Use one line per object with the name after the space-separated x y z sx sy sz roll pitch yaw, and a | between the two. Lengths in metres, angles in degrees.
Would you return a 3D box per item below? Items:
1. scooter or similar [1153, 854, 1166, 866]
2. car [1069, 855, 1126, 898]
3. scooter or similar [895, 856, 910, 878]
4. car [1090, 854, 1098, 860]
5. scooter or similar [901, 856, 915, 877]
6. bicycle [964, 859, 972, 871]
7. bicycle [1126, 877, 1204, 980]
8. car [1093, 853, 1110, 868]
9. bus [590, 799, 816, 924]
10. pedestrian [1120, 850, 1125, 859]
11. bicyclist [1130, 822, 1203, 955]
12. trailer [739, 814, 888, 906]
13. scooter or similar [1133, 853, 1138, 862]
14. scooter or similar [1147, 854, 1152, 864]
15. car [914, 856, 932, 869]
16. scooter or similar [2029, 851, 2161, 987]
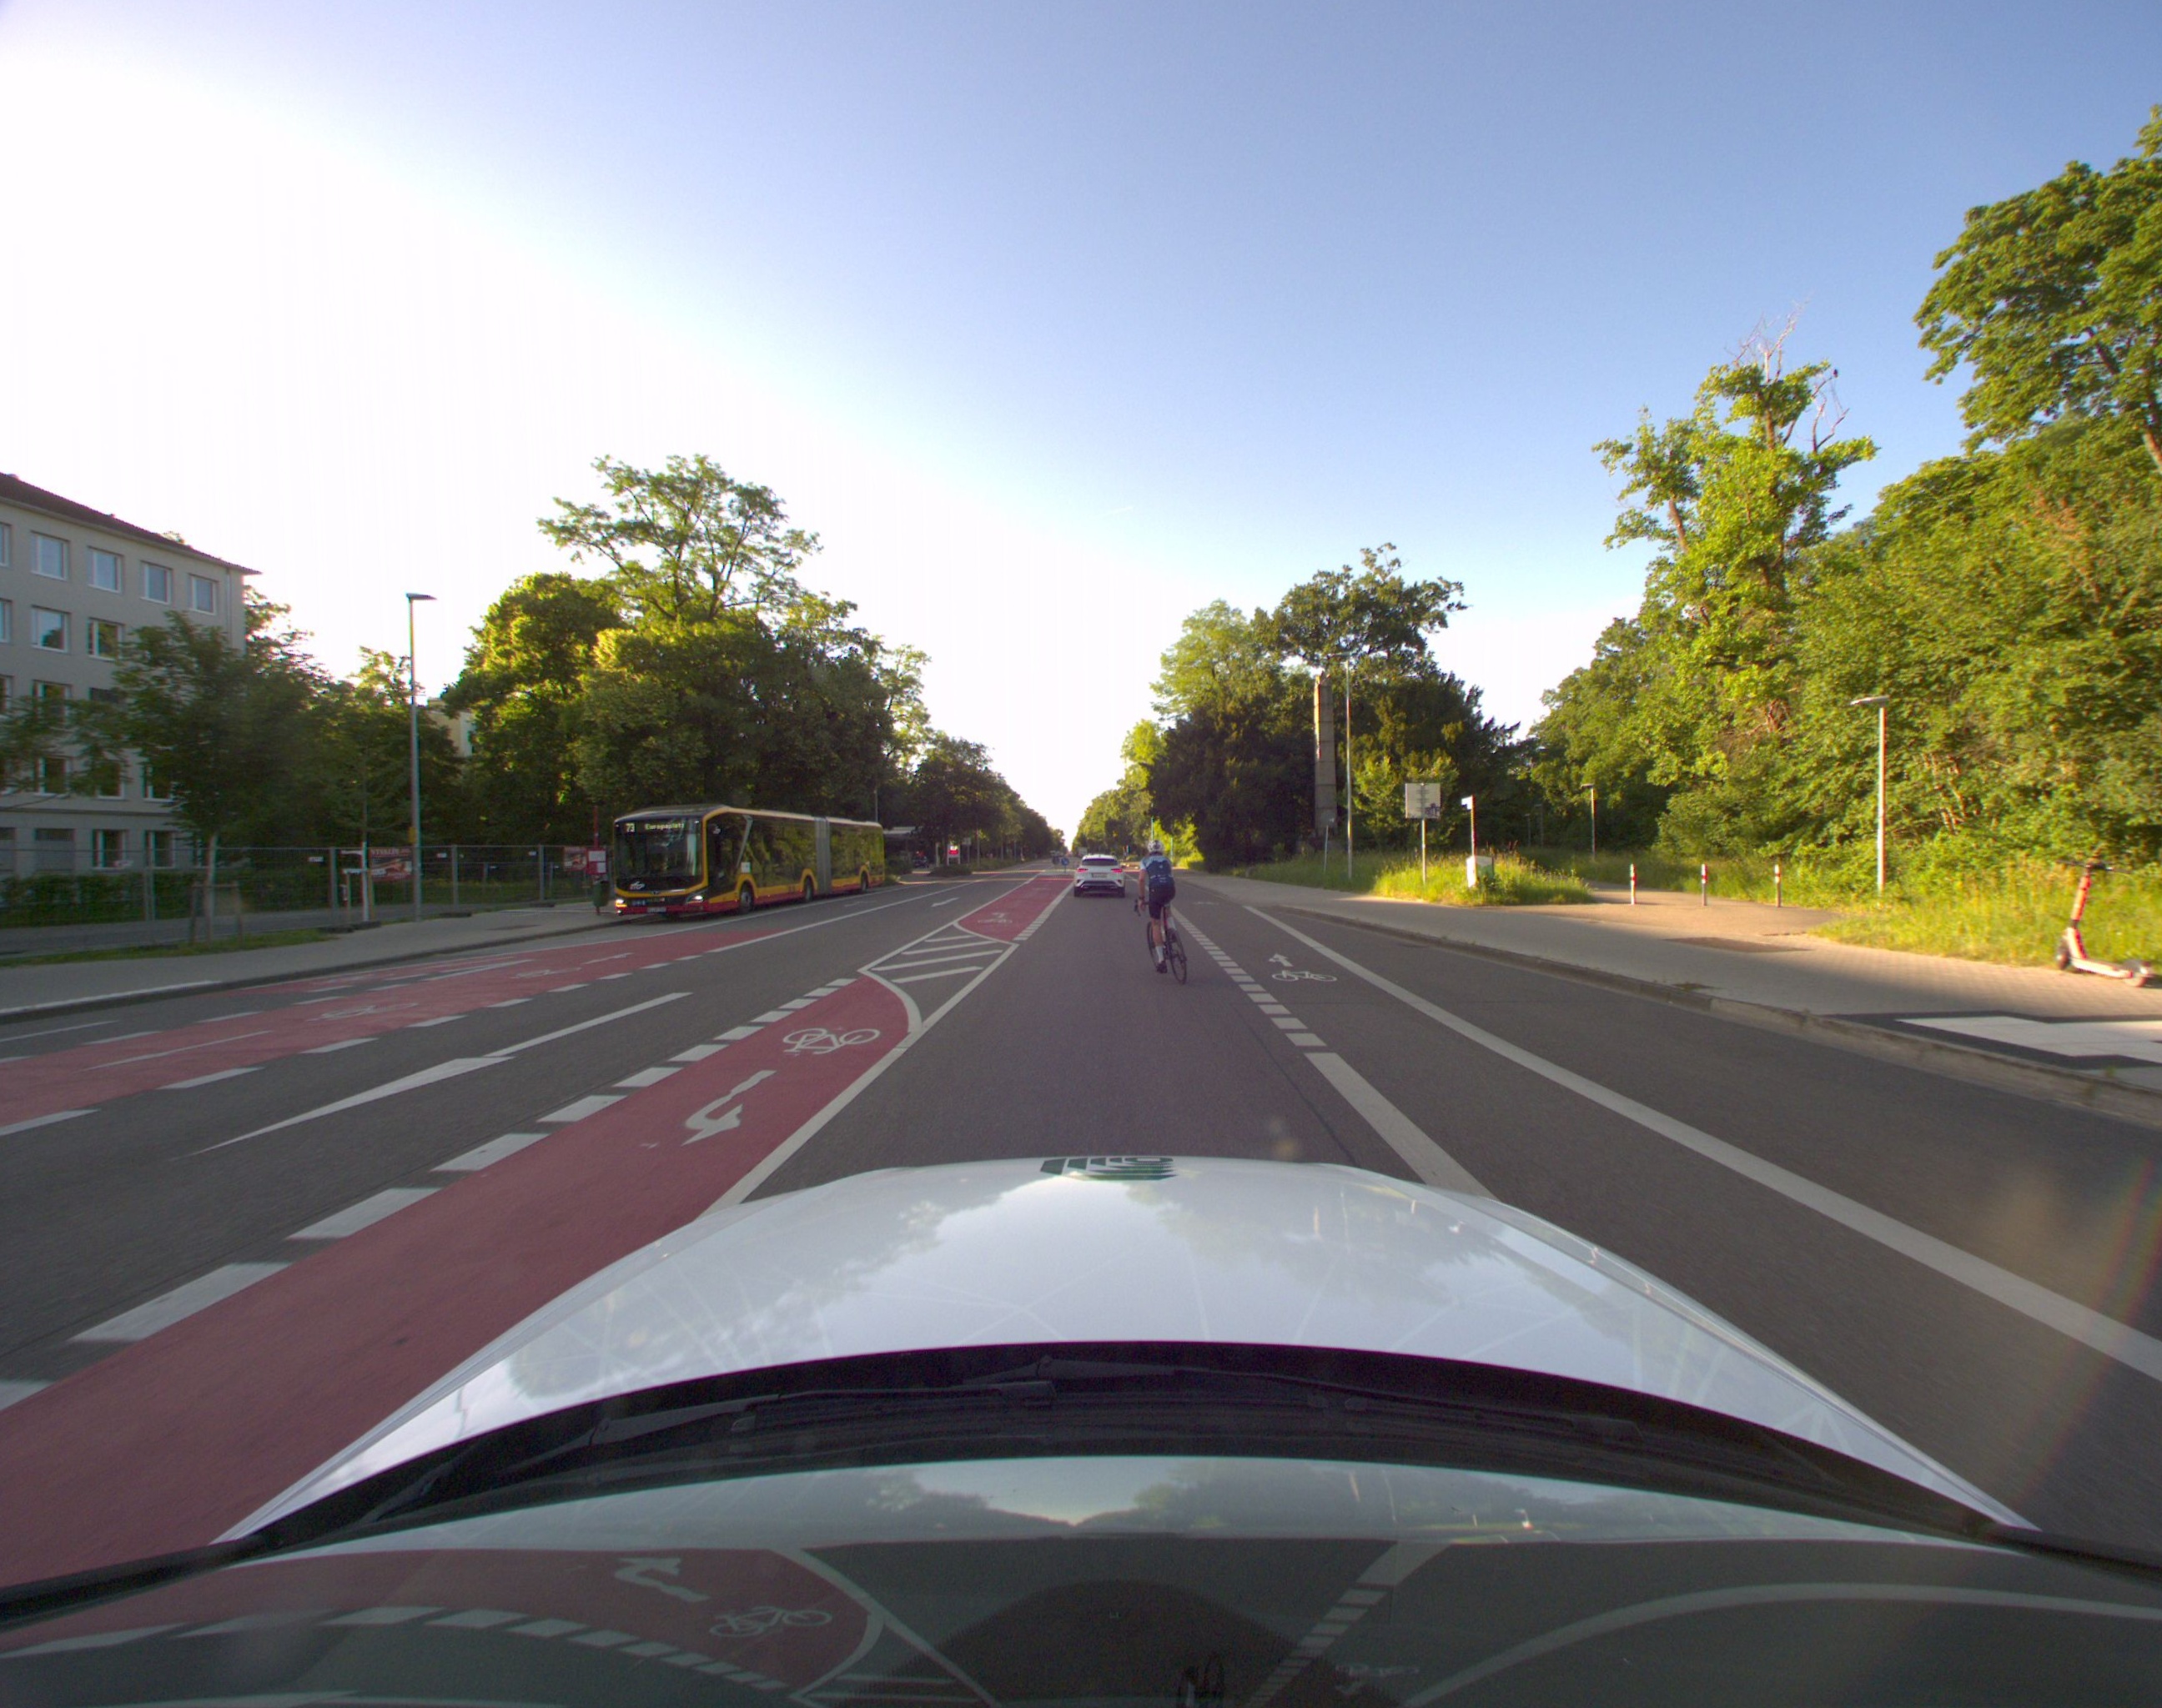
8.887 0.673 91.964 1.550 1.250 0.528 -1 0 -44 | scooter or similar
0.531 0.788 29.930 1.758 1.459 3.812 1 0 -4 | car
-14.942 1.071 68.056 0.825 1.717 1.741 -1 0 1 | scooter or similar
3.458 0.814 217.917 1.988 1.327 3.998 -1 0 -1 | car
-14.878 1.082 69.999 0.825 1.717 1.741 -1 0 1 | scooter or similar
-11.657 1.136 83.844 0.653 1.250 2.155 -1 0 -5 | bicycle
1.061 0.885 10.383 0.887 1.095 2.139 0 0 5 | bicycle
2.147 0.657 84.437 1.669 1.417 3.577 -2 0 3 | car
-11.352 0.196 25.748 2.830 3.196 8.603 -1 0 2 | bus
7.217 0.110 142.129 0.753 1.563 0.802 -2 0 -2 | pedestrian
1.051 0.408 10.111 0.856 1.567 0.882 0 0 5 | bicyclist
-10.989 0.233 34.719 2.843 3.355 9.367 1 0 2 | trailer
9.092 0.623 135.582 0.680 1.423 1.681 -1 0 -1 | scooter or similar
9.203 0.655 109.819 0.531 1.250 1.541 -1 0 0 | scooter or similar
-20.919 1.144 108.080 1.707 1.691 4.447 -1 0 -4 | car
10.405 0.602 8.120 0.715 1.247 1.335 -1 0 23 | scooter or similar
